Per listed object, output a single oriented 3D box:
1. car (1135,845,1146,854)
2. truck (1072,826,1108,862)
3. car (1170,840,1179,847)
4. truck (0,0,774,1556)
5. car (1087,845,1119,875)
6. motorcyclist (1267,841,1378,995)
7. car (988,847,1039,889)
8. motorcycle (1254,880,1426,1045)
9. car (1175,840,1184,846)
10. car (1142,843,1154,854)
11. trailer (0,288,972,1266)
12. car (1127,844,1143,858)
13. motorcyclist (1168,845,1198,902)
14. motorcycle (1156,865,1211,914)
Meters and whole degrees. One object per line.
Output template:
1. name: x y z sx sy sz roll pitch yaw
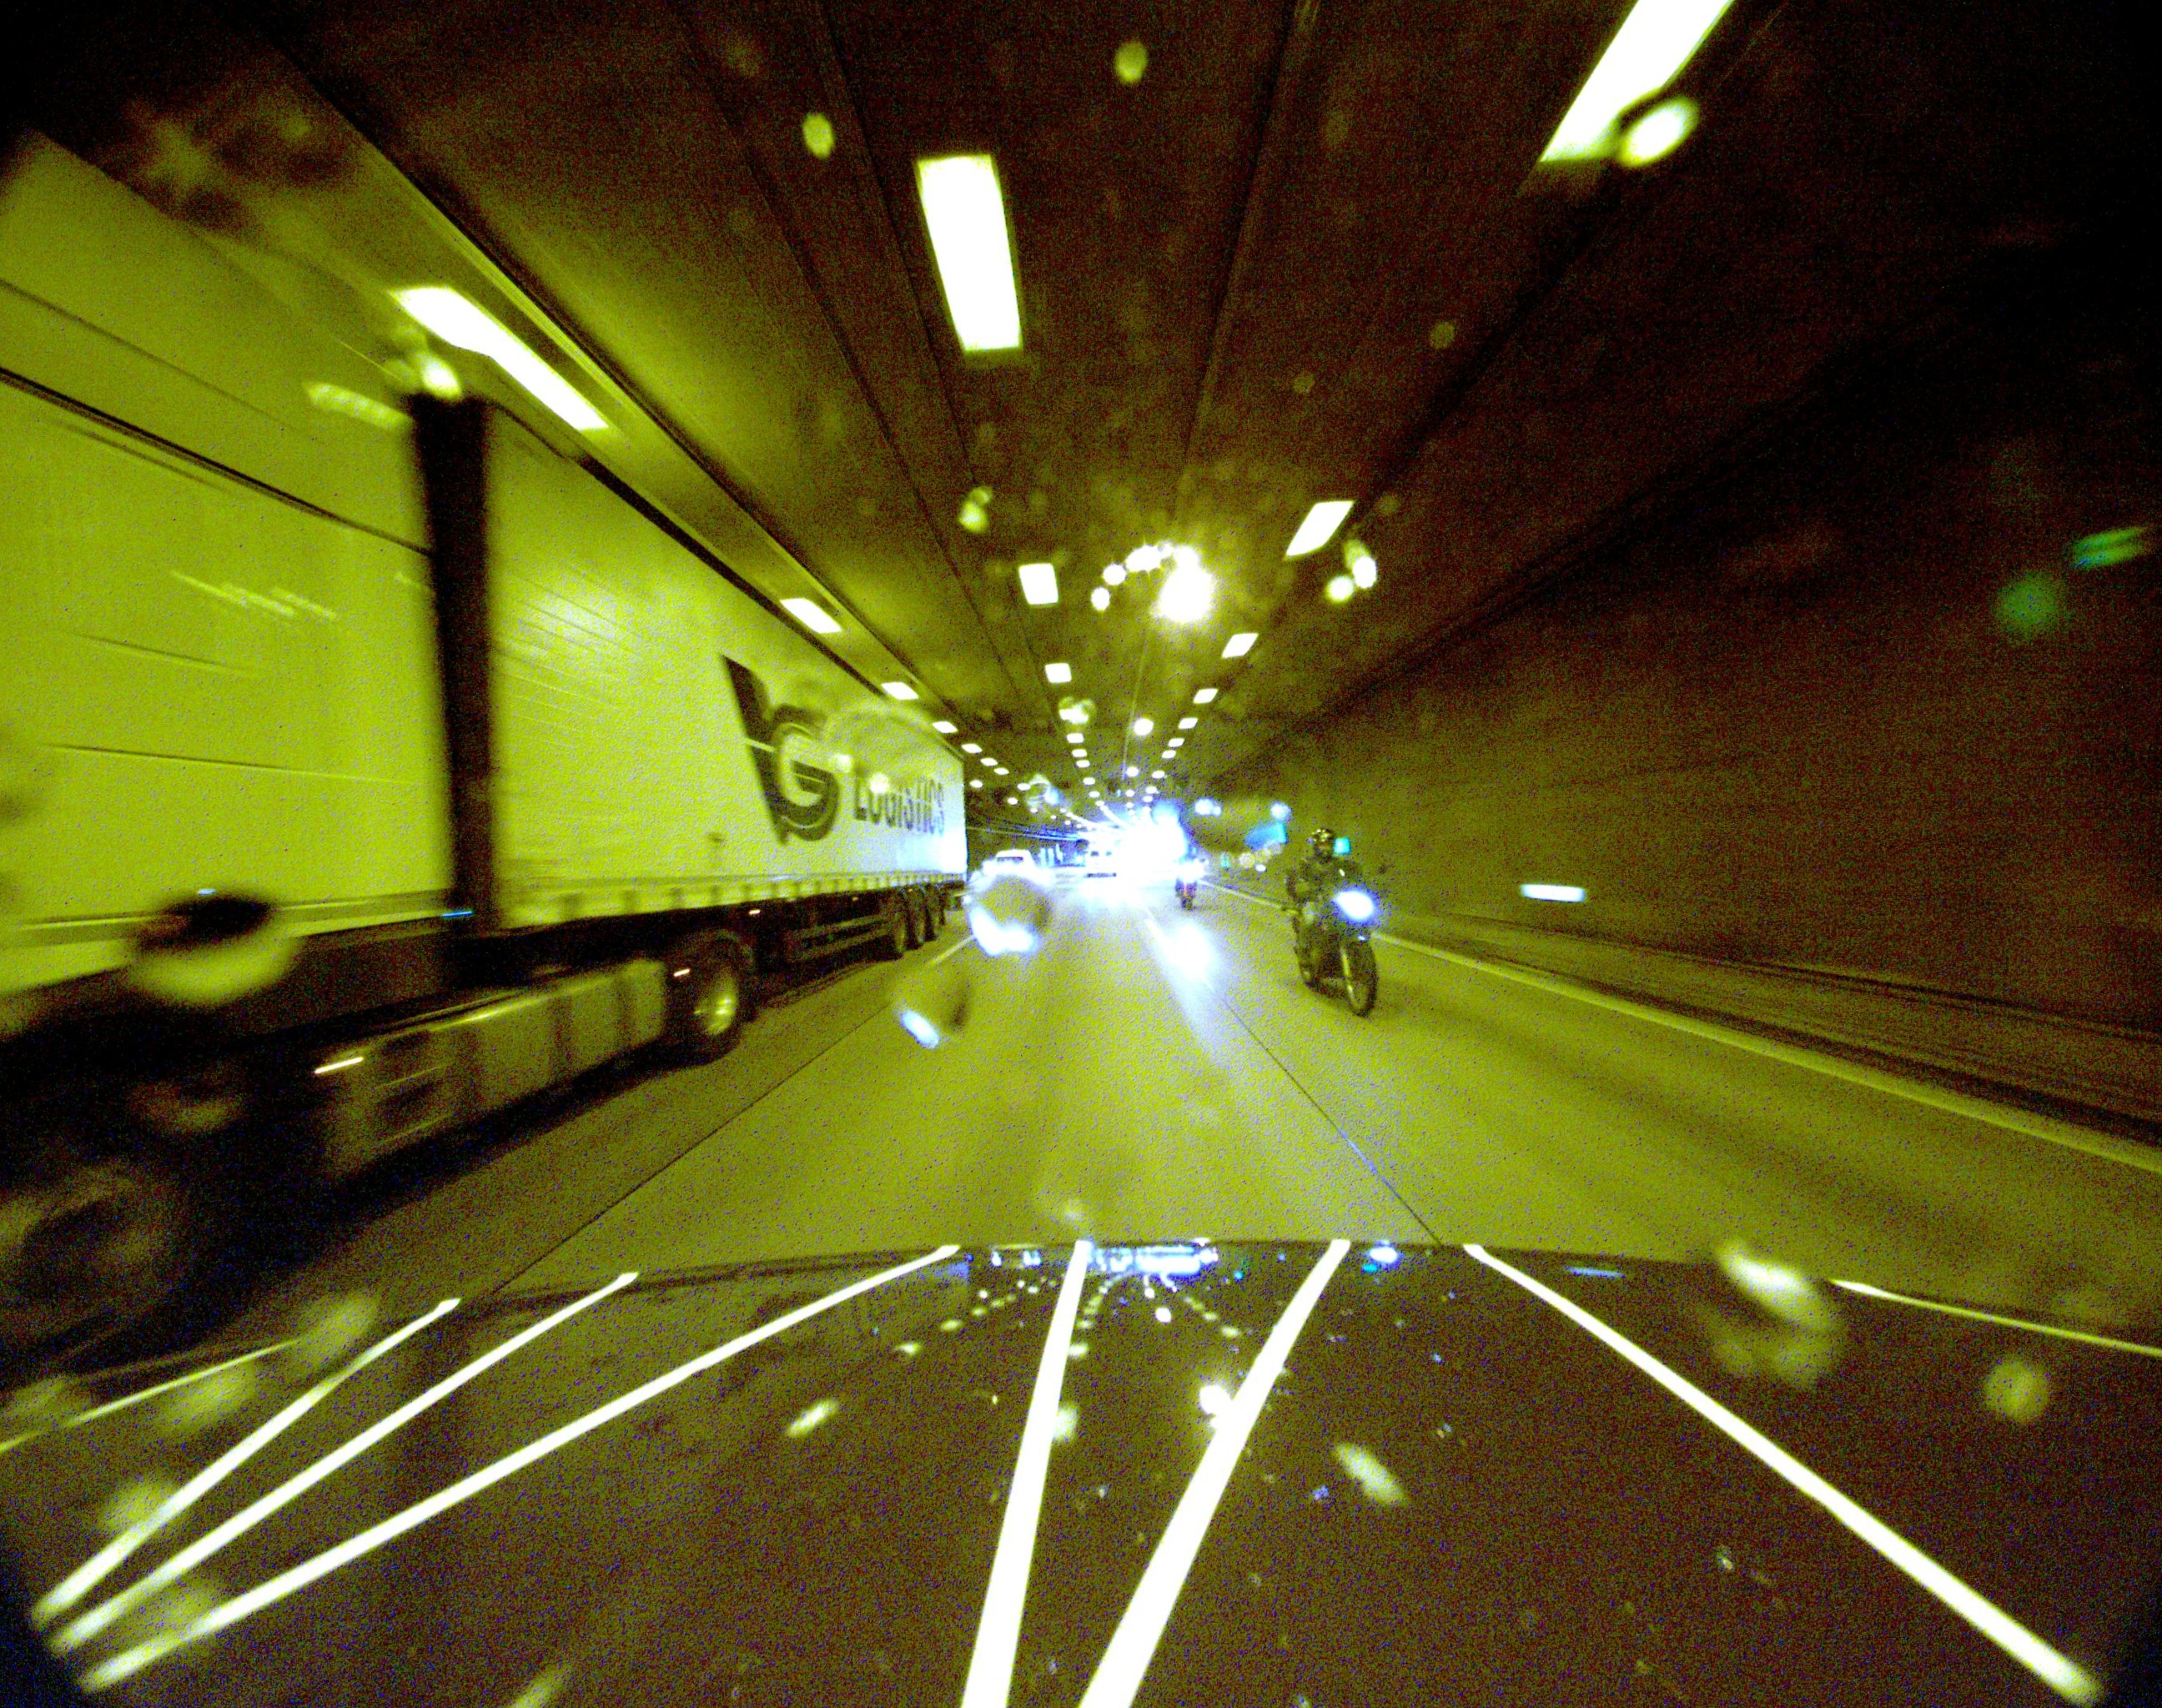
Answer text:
1. car: 12.310 -1.007 157.712 1.997 1.788 4.001 -3 1 7
2. truck: 1.136 -1.147 88.280 2.899 3.819 9.001 -3 1 8
3. car: 24.214 -2.713 197.067 1.997 1.788 4.002 -3 1 10
4. truck: -4.131 -0.237 3.563 2.653 4.139 6.005 -2 1 1
5. car: 1.439 0.356 50.537 1.998 1.890 4.000 -1 0 1
6. motorcyclist: 2.434 0.621 7.750 0.841 1.469 0.821 -2 0 1
7. car: -3.230 0.635 37.209 1.839 1.849 4.288 -2 0 2
8. motorcycle: 2.454 0.949 7.621 0.848 1.238 2.604 -2 0 1
9. car: 27.757 -3.101 214.014 1.997 1.788 4.003 -3 1 12
10. car: 12.042 -0.991 136.413 1.997 1.788 4.002 -3 1 8
11. trailer: -3.992 -0.335 10.311 2.627 4.139 14.000 -3 0 1
12. car: 7.527 -0.404 105.766 1.997 1.788 4.002 -3 1 8
13. motorcyclist: 2.704 0.506 20.158 0.628 1.480 0.890 -2 1 -2
14. motorcycle: 2.662 0.901 20.045 1.056 1.151 2.427 -2 0 -1
